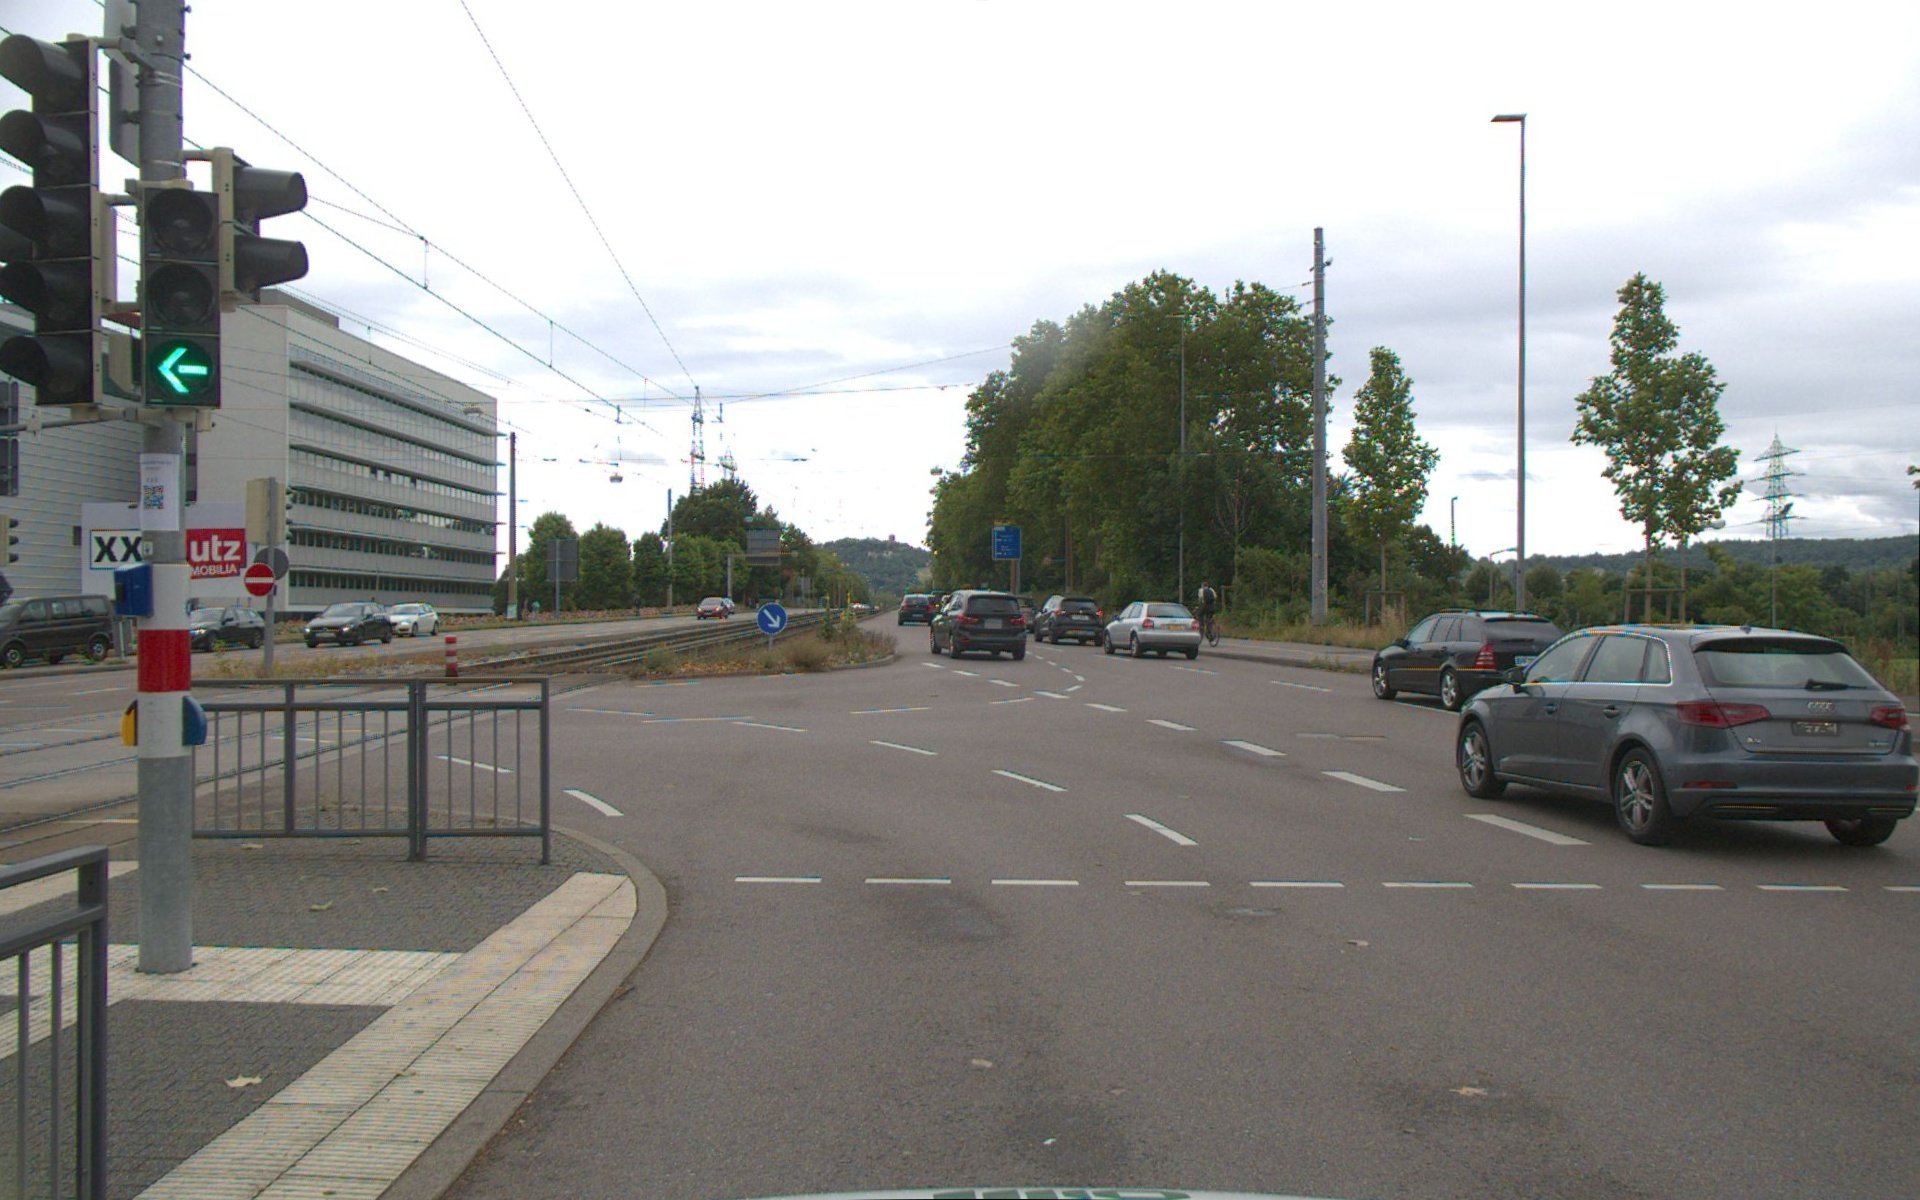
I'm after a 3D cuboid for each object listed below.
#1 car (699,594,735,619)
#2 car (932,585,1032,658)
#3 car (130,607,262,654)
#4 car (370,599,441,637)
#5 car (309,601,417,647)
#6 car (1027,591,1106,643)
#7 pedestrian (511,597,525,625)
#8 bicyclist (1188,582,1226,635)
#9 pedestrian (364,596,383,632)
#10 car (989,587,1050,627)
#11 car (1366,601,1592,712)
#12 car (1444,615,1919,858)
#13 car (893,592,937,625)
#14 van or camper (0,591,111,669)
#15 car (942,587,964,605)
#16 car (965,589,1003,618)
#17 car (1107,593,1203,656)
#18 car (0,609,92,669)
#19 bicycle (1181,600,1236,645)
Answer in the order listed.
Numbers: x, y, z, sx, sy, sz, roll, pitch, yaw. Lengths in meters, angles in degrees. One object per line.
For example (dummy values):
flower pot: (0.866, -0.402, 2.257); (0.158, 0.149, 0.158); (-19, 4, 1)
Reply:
car: (-17.065, 0.447, 116.318); (1.953, 1.758, 4.000); (-1, 0, 0)
car: (0.478, 0.505, 39.982); (1.798, 1.665, 4.309); (0, 0, -8)
car: (-25.190, 0.973, 54.704); (1.920, 1.490, 4.325); (0, 0, 8)
car: (-24.238, 0.777, 72.420); (1.692, 1.566, 4.046); (1, 0, 1)
car: (-20.273, 0.785, 56.365); (1.792, 1.490, 4.210); (0, 0, 6)
car: (3.442, 0.550, 54.055); (1.821, 1.589, 4.311); (2, -1, -6)
pedestrian: (-27.429, 0.678, 102.619); (0.535, 1.683, 0.611); (0, -2, 41)
bicyclist: (7.295, 0.237, 48.838); (0.802, 1.504, 0.997); (-1, 1, -11)
pedestrian: (-30.253, 0.718, 85.331); (0.631, 1.822, 0.694); (0, -2, 41)
car: (2.503, 0.301, 70.684); (1.822, 1.589, 4.309); (2, -1, -8)
car: (7.814, 0.795, 25.335); (1.702, 1.505, 4.313); (1, 0, -6)
car: (5.161, 0.853, 12.122); (1.704, 1.426, 4.072); (1, 0, -6)
car: (-2.143, 0.391, 78.039); (1.713, 1.456, 3.370); (1, 0, -7)
van or camper: (-26.605, 0.866, 46.502); (2.072, 2.048, 4.757); (-3, 1, 16)
car: (-0.653, -0.325, 145.162); (1.779, 1.506, 3.669); (1, -1, -3)
car: (1.285, 0.198, 89.275); (1.779, 1.506, 3.669); (1, -1, -3)
car: (5.064, 0.601, 43.421); (1.695, 1.535, 3.627); (1, 0, -7)
car: (-49.007, 2.008, 87.060); (2.702, 3.042, 6.952); (1, -1, 2)
bicycle: (7.333, 0.643, 48.894); (0.802, 1.205, 2.516); (-1, 1, -11)
